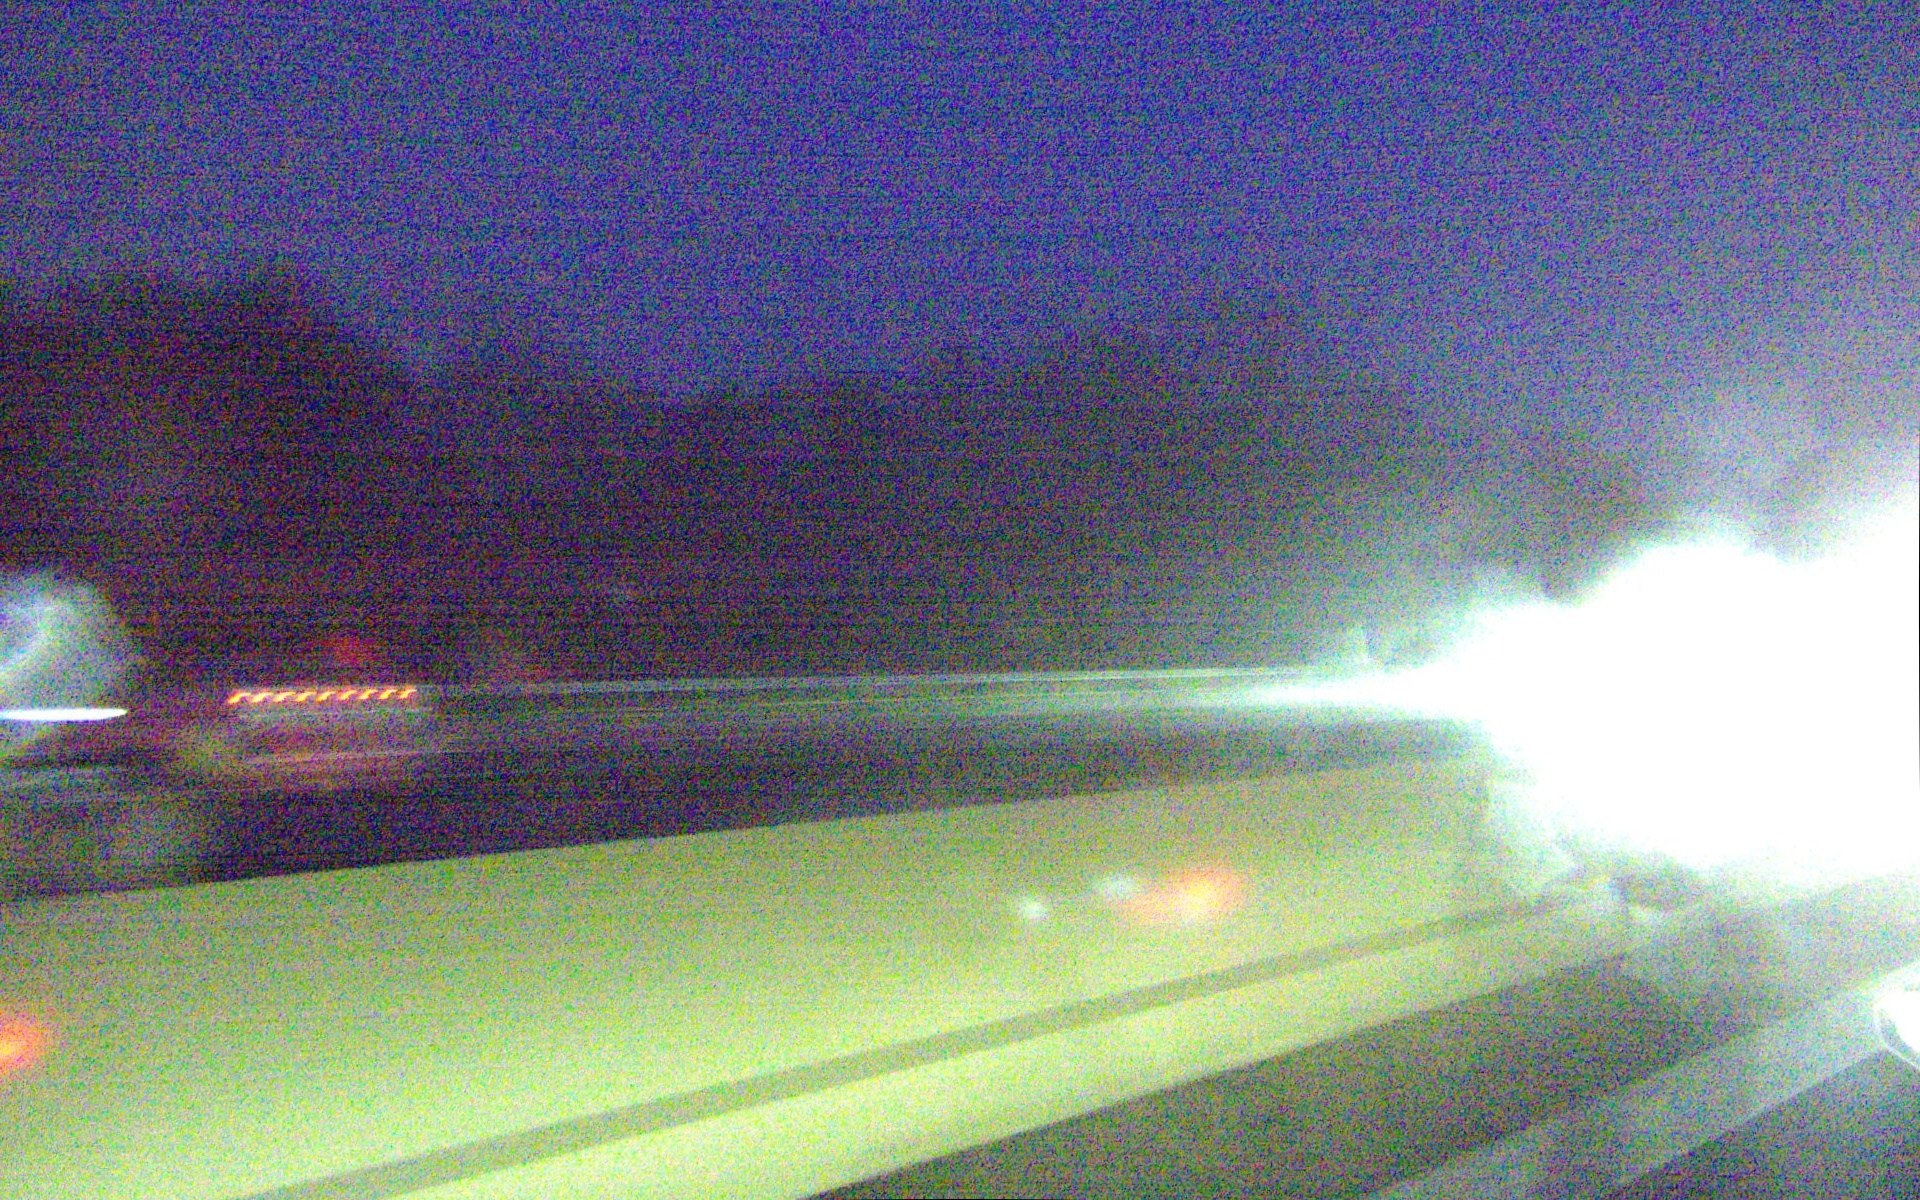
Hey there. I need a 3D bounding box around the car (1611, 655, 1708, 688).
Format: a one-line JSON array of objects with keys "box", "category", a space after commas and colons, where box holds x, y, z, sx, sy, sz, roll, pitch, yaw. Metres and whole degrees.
[{"box": [27.158, 2.748, 38.962, 4.001, 1.117, 1.629, 2, 0, -32], "category": "car"}]

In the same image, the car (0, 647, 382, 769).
[{"box": [-12.166, 1.597, 15.726, 5.305, 1.604, 1.885, 2, 0, -29], "category": "car"}]
